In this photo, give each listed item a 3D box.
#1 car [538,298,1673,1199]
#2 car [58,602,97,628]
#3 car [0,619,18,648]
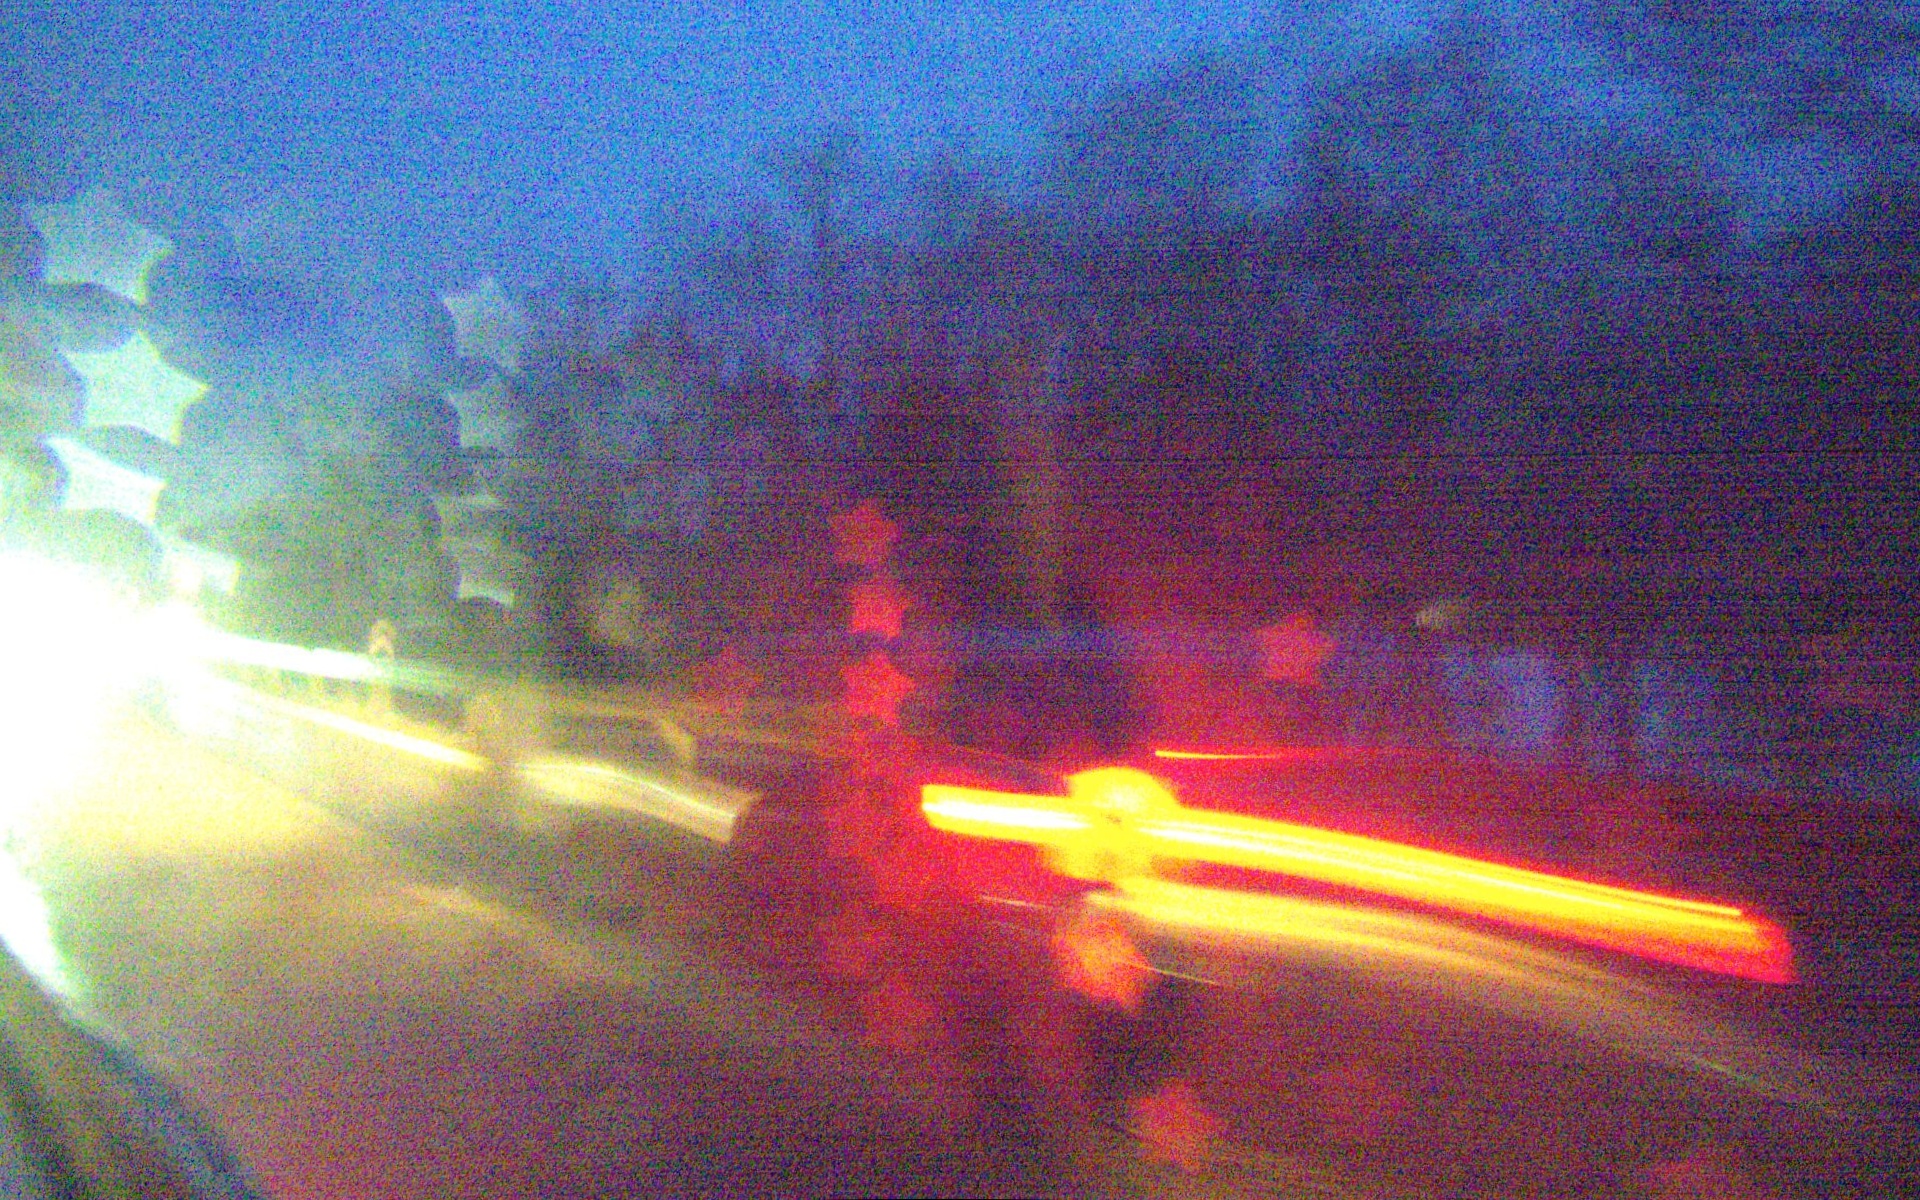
[{"bbox_3d":[0.263,0.381,3.992,3.998,1.940,1.973,0,1,41],"label":"car"},{"bbox_3d":[-62.918,1.034,72.153,1.970,1.763,4.263,-2,1,-42],"label":"car"},{"bbox_3d":[-52.213,1.828,54.610,1.780,1.472,4.282,-2,1,-40],"label":"car"}]
